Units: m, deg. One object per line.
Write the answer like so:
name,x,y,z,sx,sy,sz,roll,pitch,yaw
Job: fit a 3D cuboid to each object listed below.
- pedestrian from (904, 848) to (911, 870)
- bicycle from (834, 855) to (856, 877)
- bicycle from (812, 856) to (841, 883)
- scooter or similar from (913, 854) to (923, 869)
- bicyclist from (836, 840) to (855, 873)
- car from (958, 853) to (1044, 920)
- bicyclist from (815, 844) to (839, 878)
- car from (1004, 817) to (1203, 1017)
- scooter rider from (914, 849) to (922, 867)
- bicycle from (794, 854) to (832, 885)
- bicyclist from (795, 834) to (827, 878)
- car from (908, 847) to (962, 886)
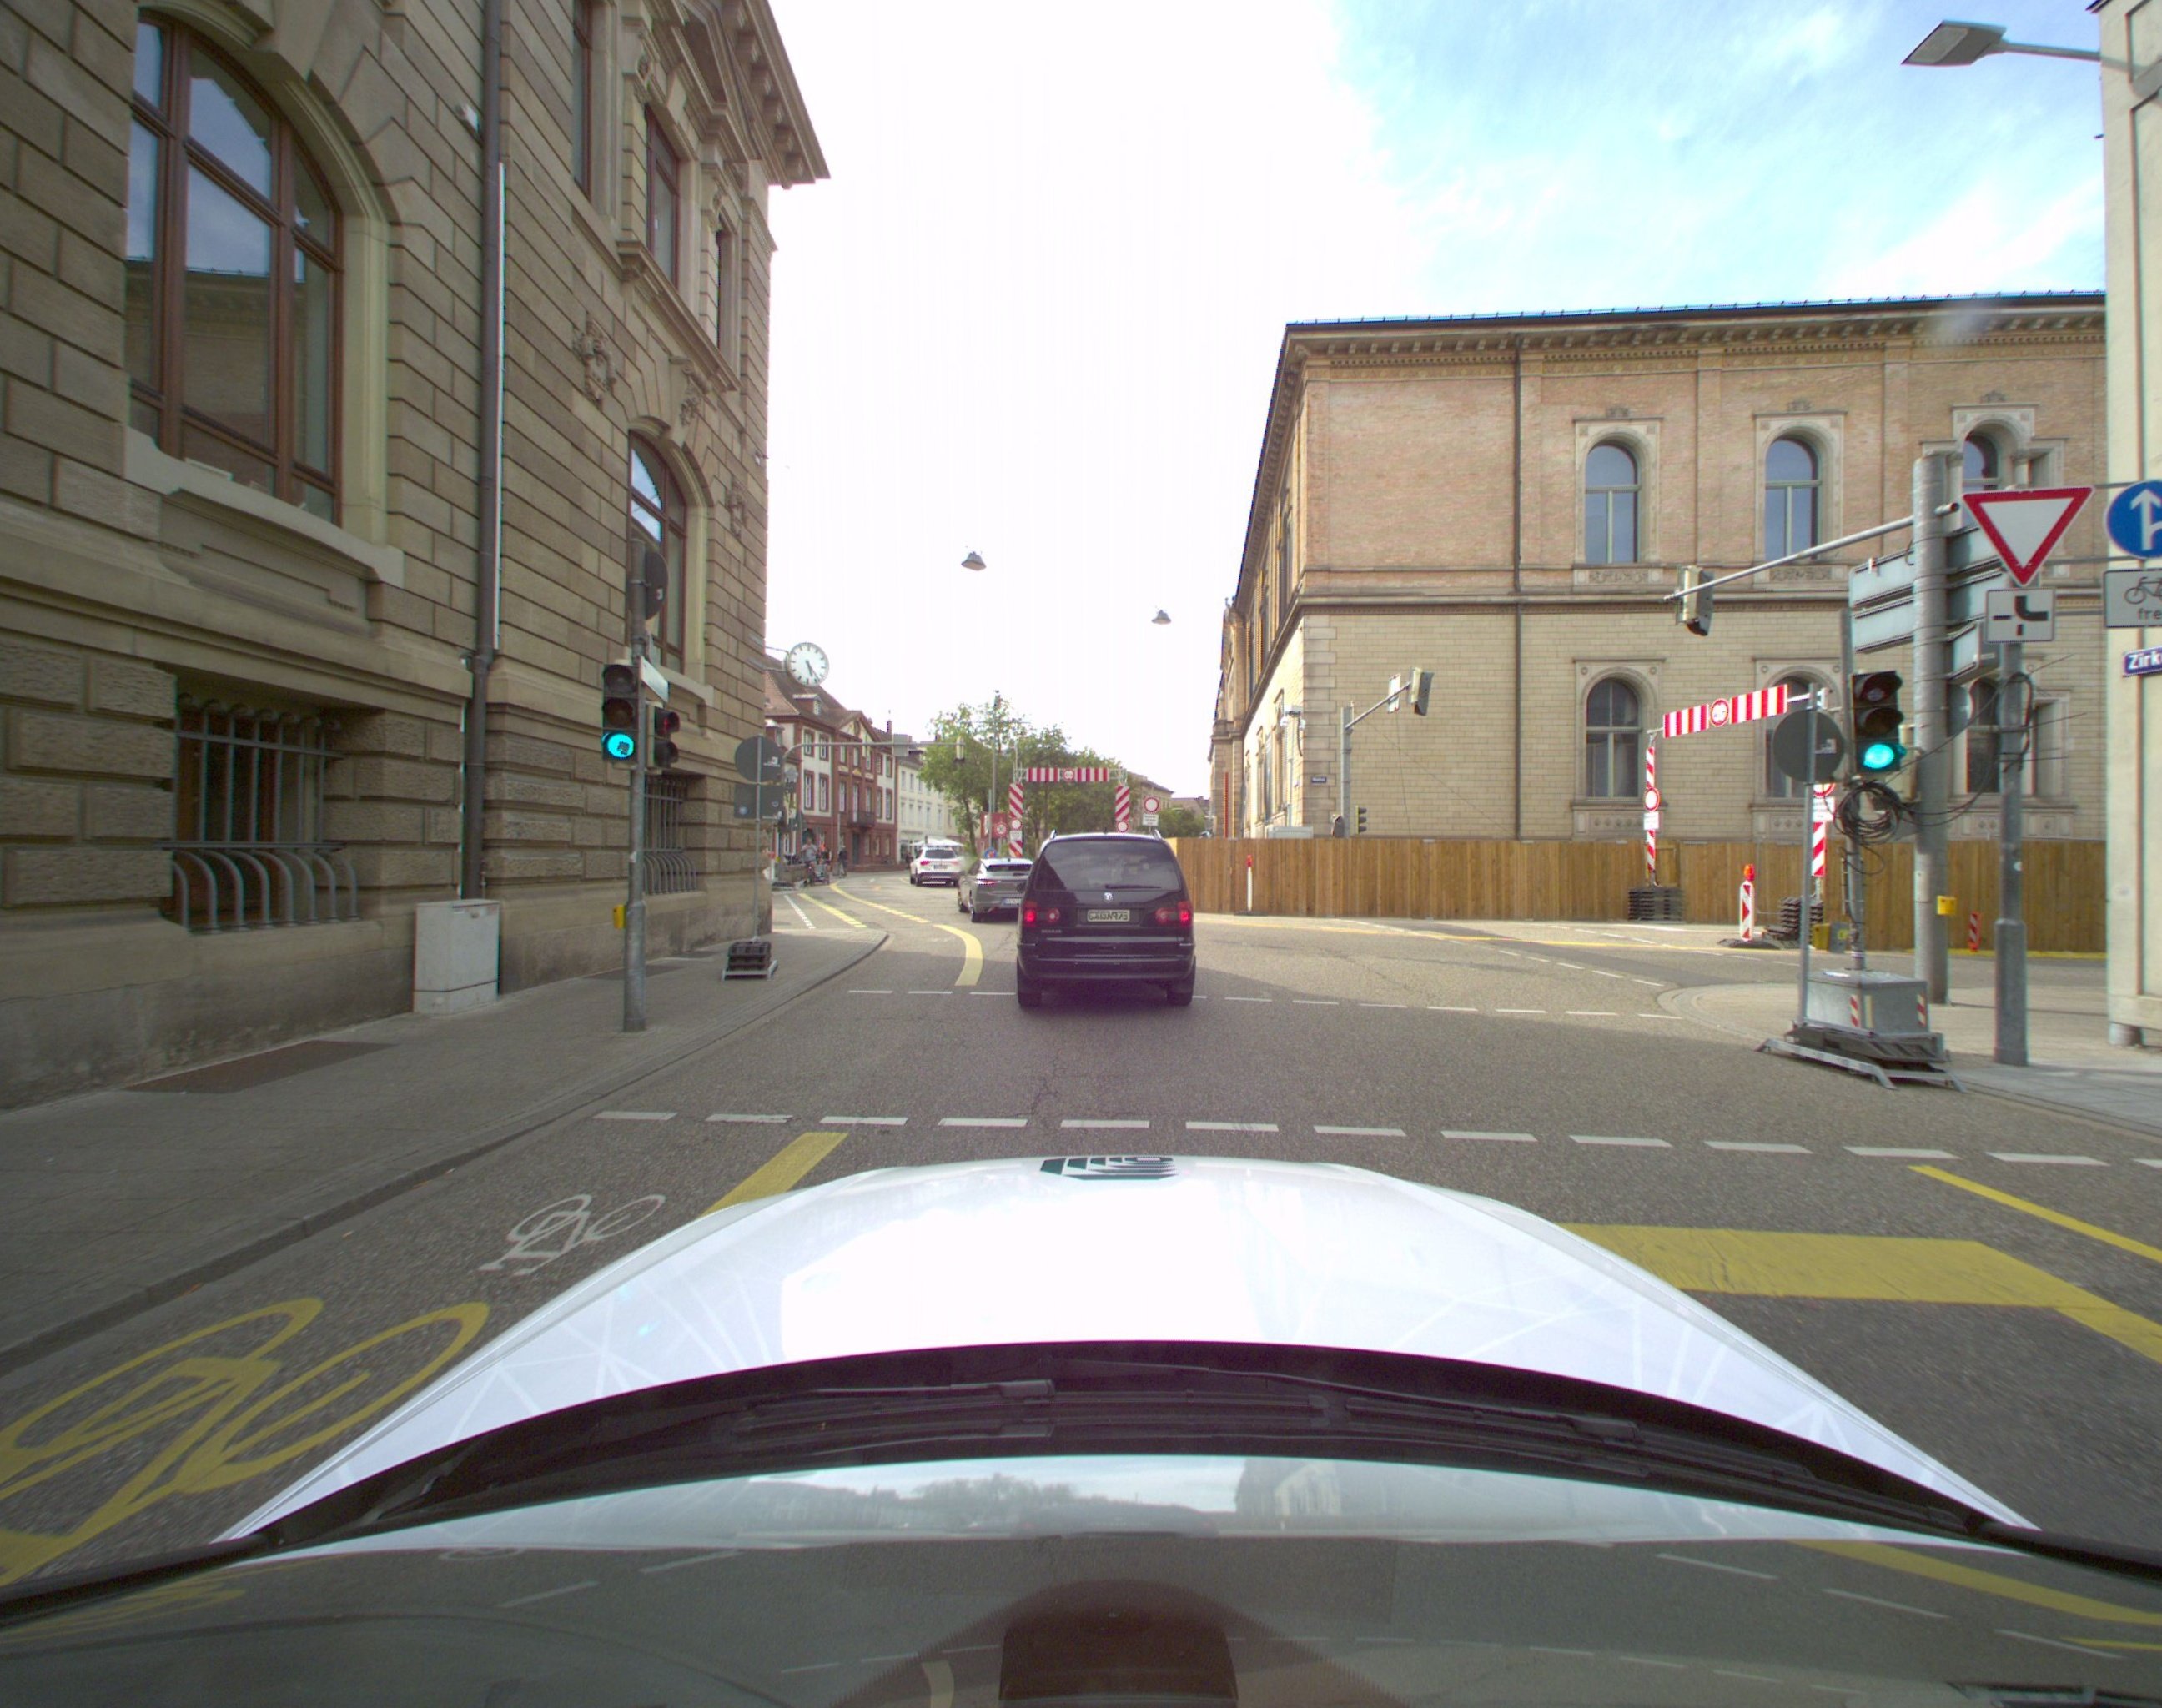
pedestrian,-15.999,0.419,75.108,0.584,2.014,0.686,0,-1,-3
bicycle,-13.974,0.695,48.327,0.925,1.255,2.533,0,-1,-9
bicycle,-11.959,0.709,38.332,0.925,1.255,2.533,0,-1,-9
scooter or similar,-13.600,0.605,68.025,0.598,1.255,1.549,0,-1,-5
bicyclist,-13.919,0.159,48.081,0.926,1.963,1.102,0,-1,-9
car,-2.068,0.740,20.029,1.679,1.469,4.086,1,-1,-12
bicyclist,-11.959,0.328,38.383,0.926,1.609,1.060,0,-1,-9
car,0.194,0.584,9.387,1.784,1.790,4.102,0,-1,-1
scooter rider,-13.610,0.307,67.978,0.598,1.490,0.678,0,-1,-6
bicycle,-11.402,0.656,34.772,1.056,1.255,3.031,0,-1,-9
bicyclist,-11.401,0.069,34.449,1.091,1.824,1.361,0,-1,-9
car,-6.313,0.524,34.897,1.778,1.586,3.975,0,-1,-18
